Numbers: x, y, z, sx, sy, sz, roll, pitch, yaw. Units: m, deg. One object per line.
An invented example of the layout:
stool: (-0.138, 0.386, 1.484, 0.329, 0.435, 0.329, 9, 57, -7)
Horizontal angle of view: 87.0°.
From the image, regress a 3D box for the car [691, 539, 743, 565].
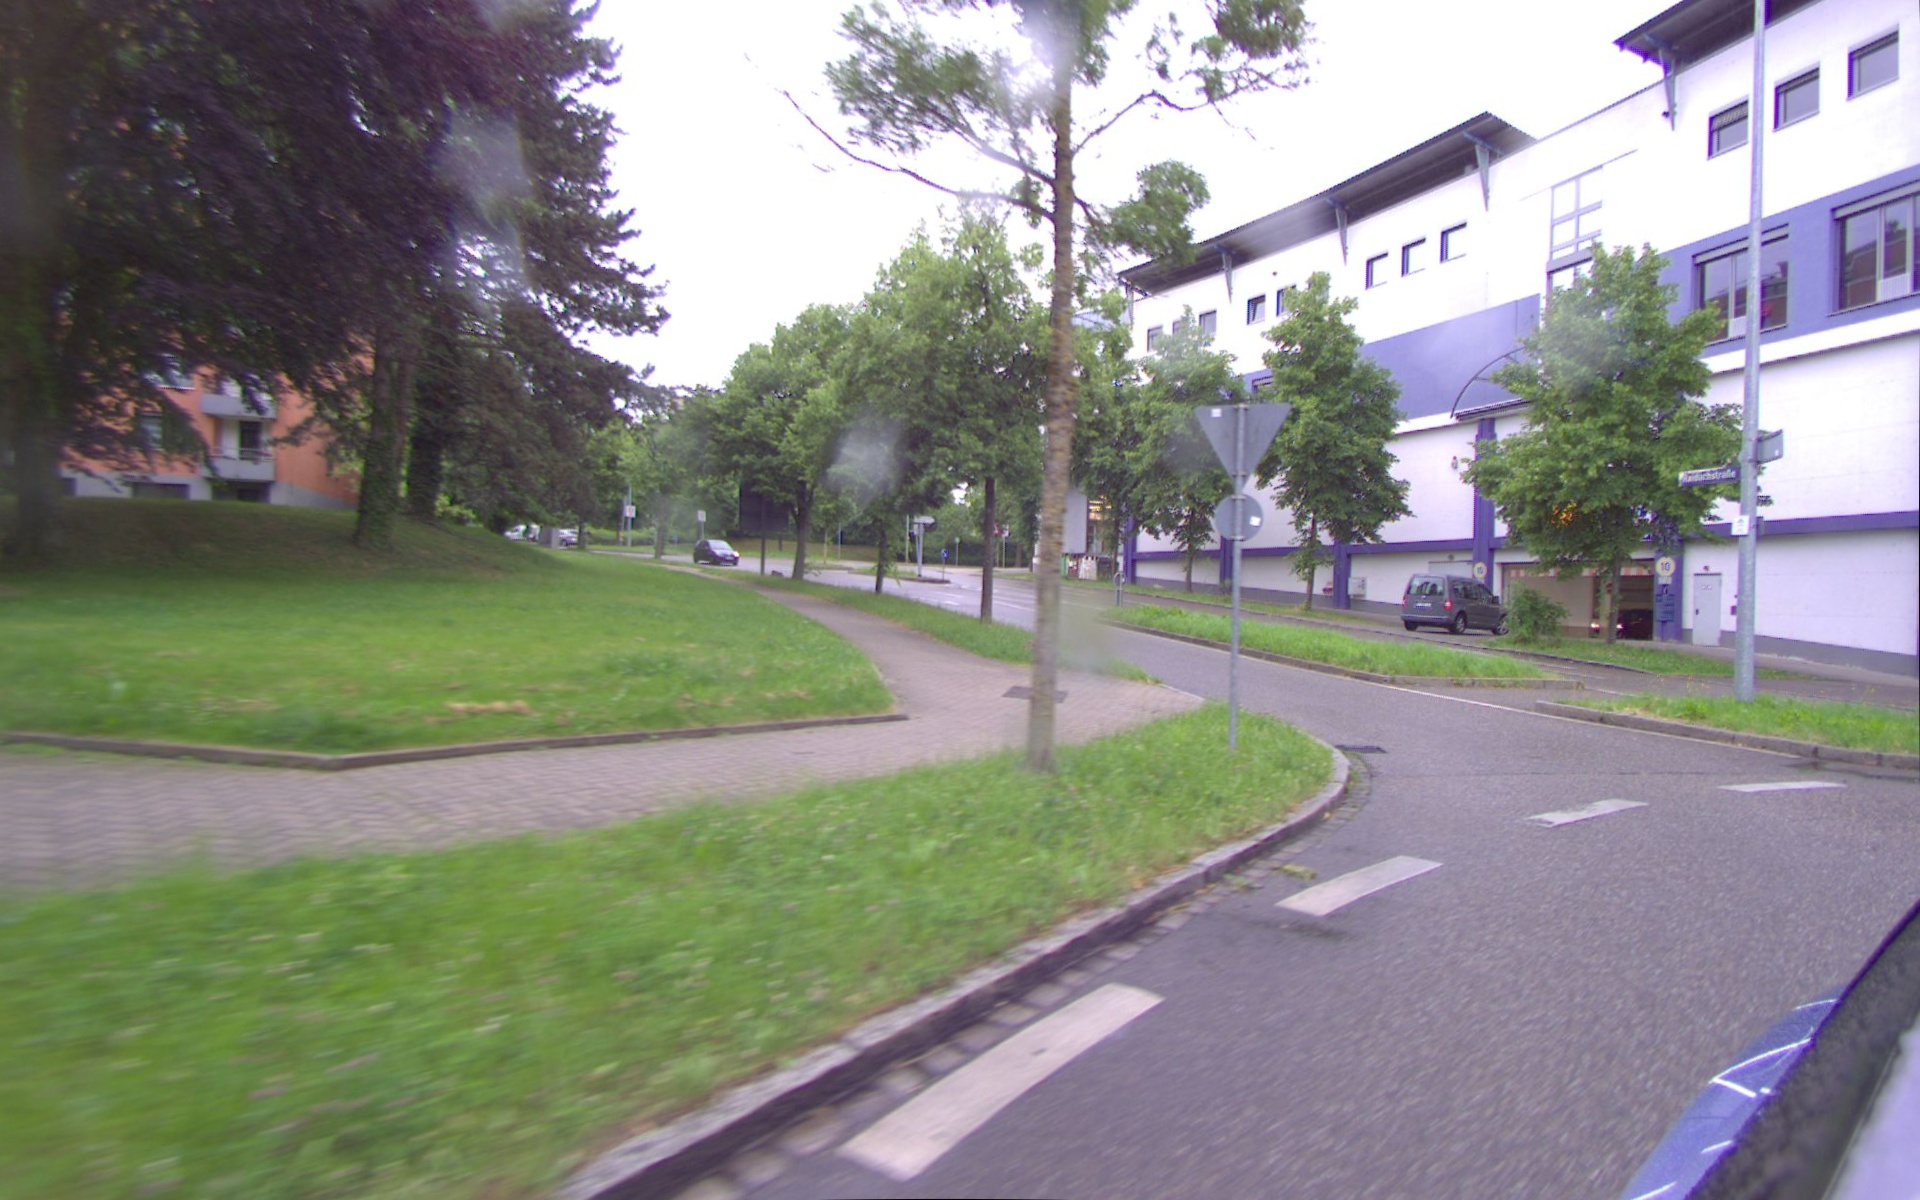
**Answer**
car: (-14.512, -2.837, 60.305, 1.599, 1.458, 3.595, 1, 2, -39)

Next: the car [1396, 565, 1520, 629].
car: (15.864, -0.092, 32.186, 3.718, 1.823, 1.926, 2, 3, -36)

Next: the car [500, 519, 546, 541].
car: (-40.407, -6.500, 93.543, 3.971, 1.896, 1.977, 3, 1, 33)

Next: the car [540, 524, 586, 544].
car: (-34.415, -5.718, 87.707, 3.976, 1.585, 1.862, 3, 1, 36)
